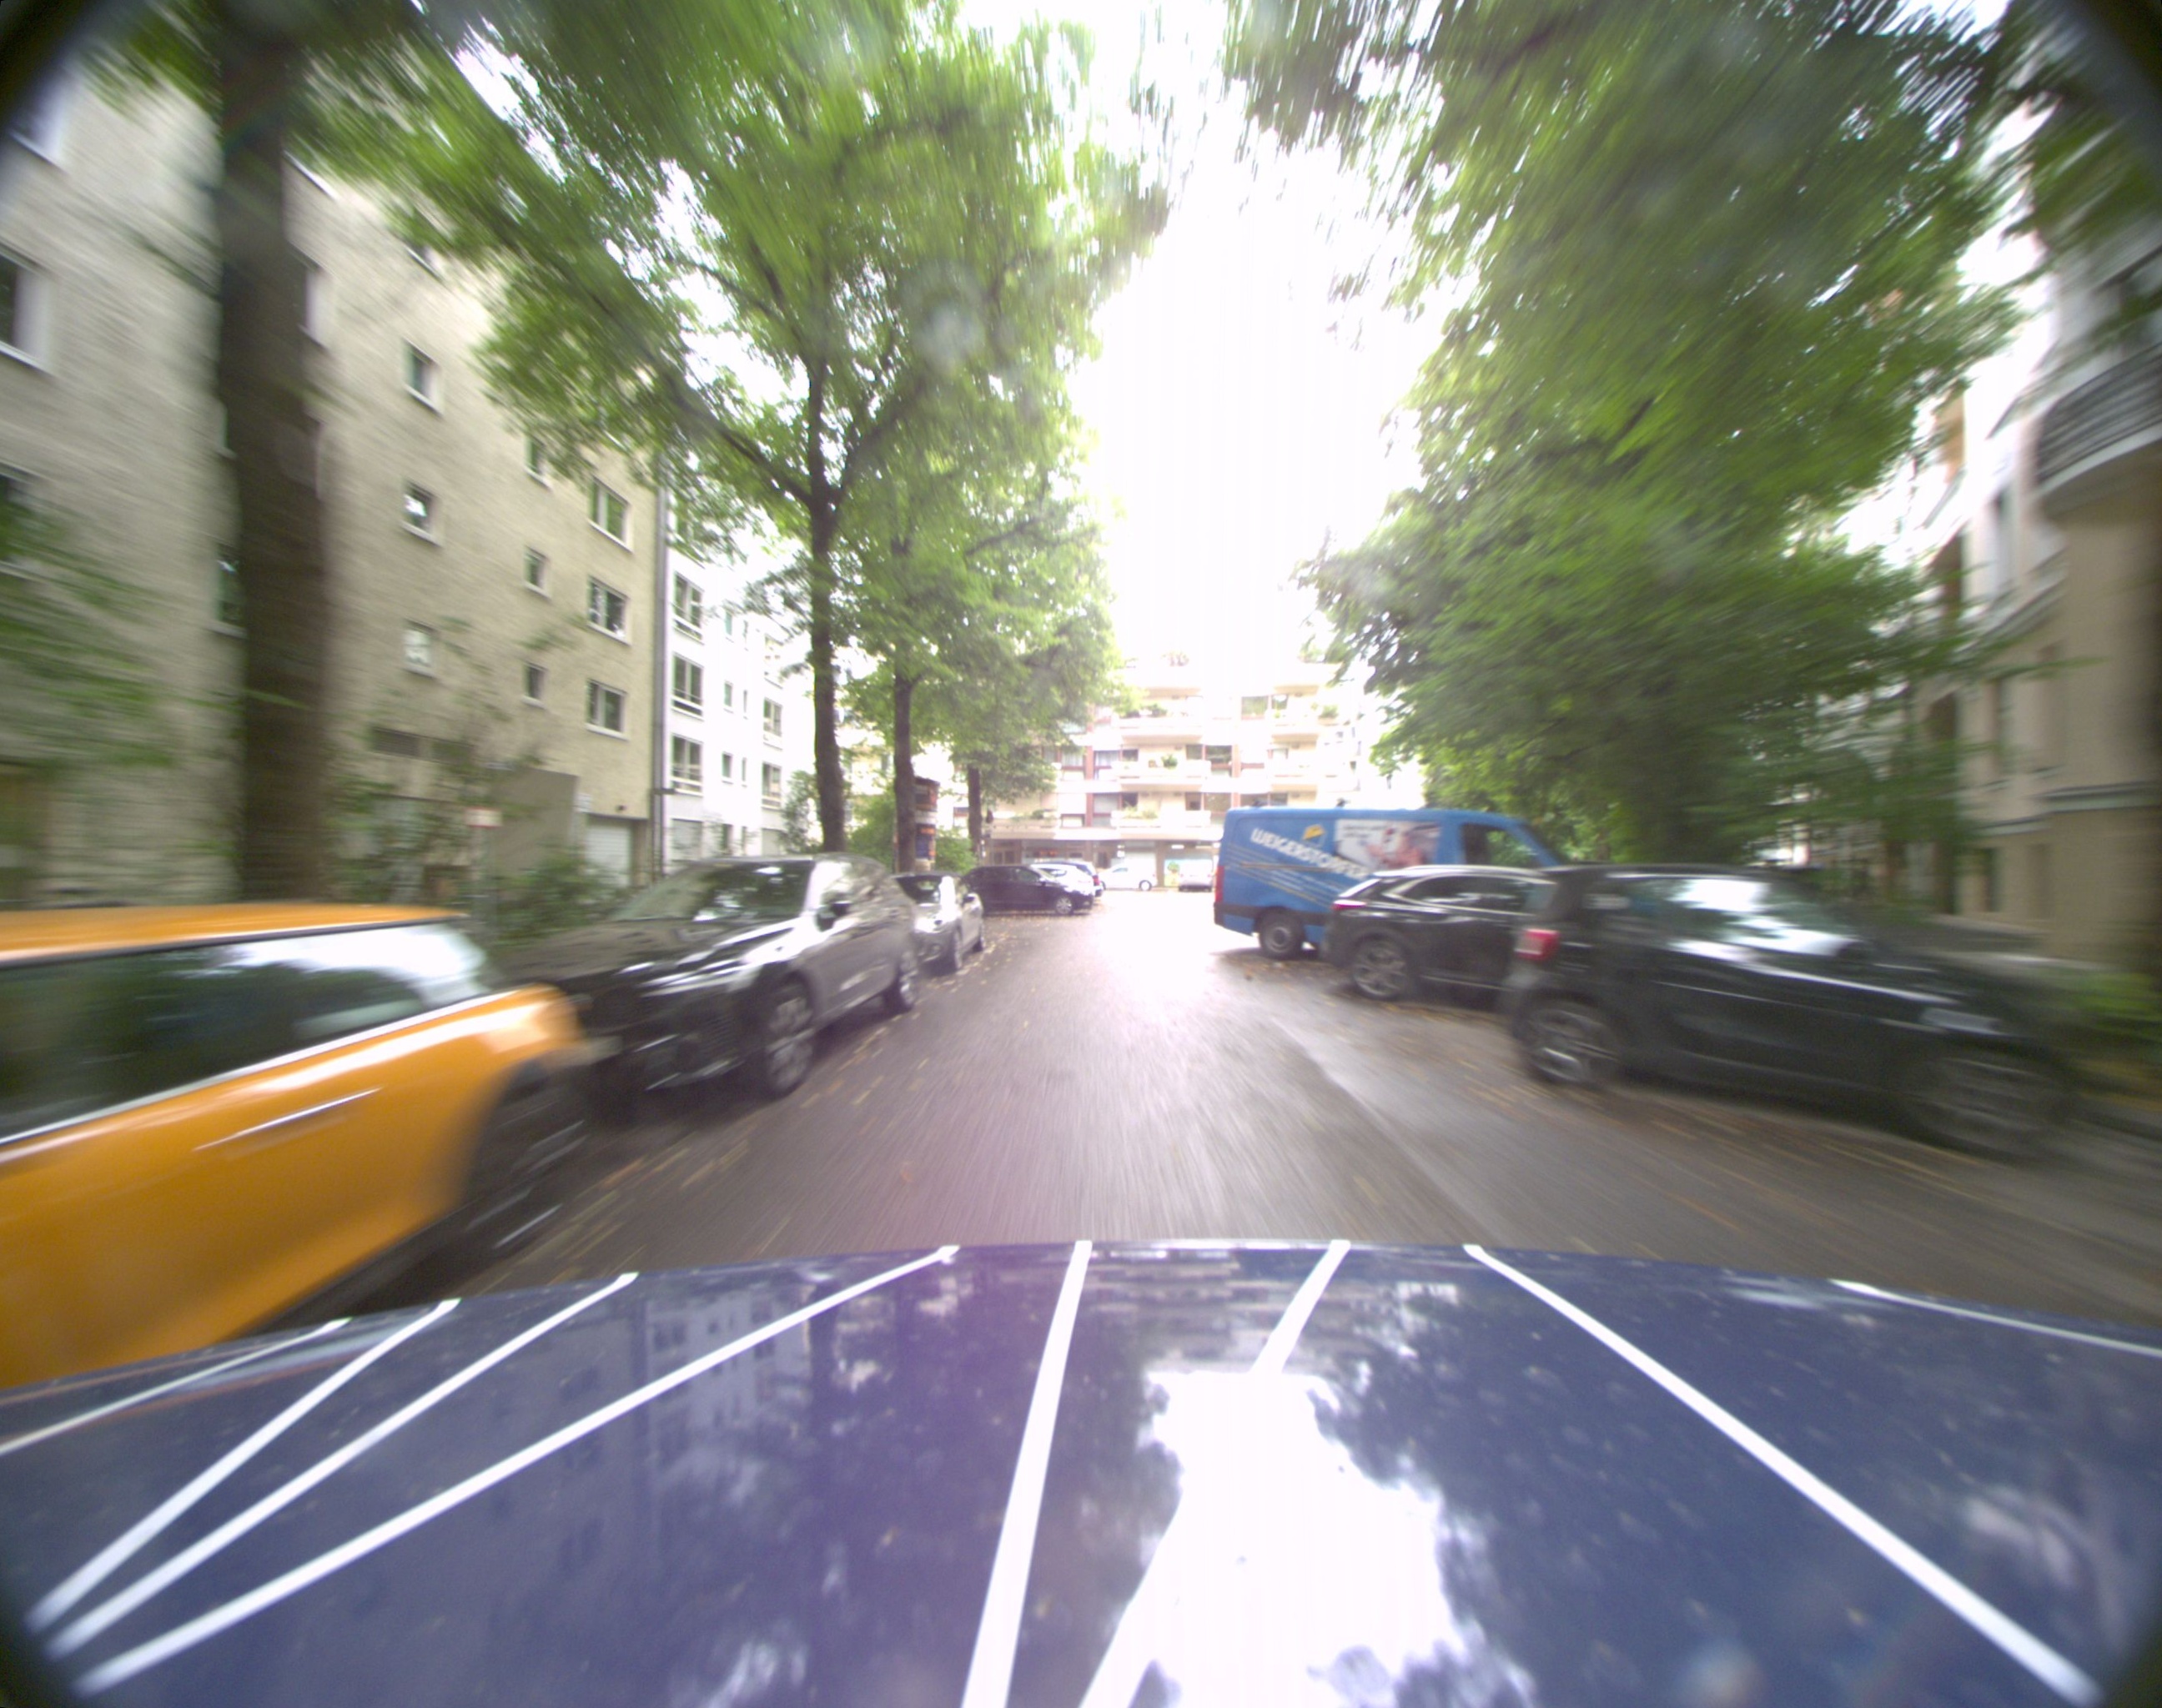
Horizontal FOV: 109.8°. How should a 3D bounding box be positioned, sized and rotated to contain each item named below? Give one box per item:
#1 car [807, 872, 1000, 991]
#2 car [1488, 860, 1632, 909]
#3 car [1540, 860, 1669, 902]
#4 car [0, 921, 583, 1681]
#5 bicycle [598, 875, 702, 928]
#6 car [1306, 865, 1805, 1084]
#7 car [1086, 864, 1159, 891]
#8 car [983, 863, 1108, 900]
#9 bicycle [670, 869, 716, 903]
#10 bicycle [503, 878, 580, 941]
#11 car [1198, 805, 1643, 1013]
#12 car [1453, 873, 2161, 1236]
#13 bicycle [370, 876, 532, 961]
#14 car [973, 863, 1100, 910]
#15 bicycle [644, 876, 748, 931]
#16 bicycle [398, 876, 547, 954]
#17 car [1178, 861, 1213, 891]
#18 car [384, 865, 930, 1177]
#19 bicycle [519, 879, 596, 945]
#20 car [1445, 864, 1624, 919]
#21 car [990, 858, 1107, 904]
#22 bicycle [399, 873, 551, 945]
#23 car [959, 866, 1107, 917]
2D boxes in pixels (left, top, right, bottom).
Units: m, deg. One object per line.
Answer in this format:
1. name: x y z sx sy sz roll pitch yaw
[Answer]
1. car: -2.576 1.071 12.205 1.903 1.405 4.430 1 0 2
2. car: 17.517 1.064 27.902 4.275 1.459 1.713 3 3 38
3. car: 20.127 1.000 29.441 4.013 1.521 1.848 0 0 31
4. car: -3.028 0.994 1.501 1.622 1.404 3.780 0 0 -1
5. bicycle: -9.320 1.016 16.478 1.877 1.117 0.540 0 0 -10
6. car: 4.621 0.961 7.833 3.987 1.528 1.820 2 1 41
7. car: 2.287 1.280 41.192 3.828 1.412 1.567 0 -2 7
8. car: -1.369 1.051 29.734 4.730 1.369 1.959 0 0 -1
9. bicycle: -12.714 1.031 24.952 0.539 1.017 1.702 3 0 2
10. bicycle: -10.485 1.048 14.834 0.445 1.117 1.770 0 0 -8
11. car: 4.672 0.523 11.059 5.478 2.341 2.070 3 2 38
12. car: 4.699 0.999 4.928 3.856 1.552 1.819 2 1 33
13. bicycle: -9.090 0.903 11.049 1.774 1.117 0.444 0 0 -33
14. car: -1.407 1.026 24.646 3.946 1.439 1.826 0 0 -1
15. bicycle: -8.087 1.031 16.026 1.877 1.117 0.540 0 0 -10
16. bicycle: -9.407 0.910 11.825 1.774 1.117 0.444 0 0 -33
17. car: 5.930 1.178 39.554 1.719 1.445 4.246 0 -3 8
18. car: -2.736 0.920 6.335 1.836 1.619 4.526 0 0 3
19. bicycle: -9.814 1.053 14.318 0.445 1.117 1.770 0 0 -8
20. car: 13.255 1.036 22.401 4.330 1.375 1.849 1 0 32
21. car: -1.088 0.934 27.012 3.980 1.546 1.756 0 0 3
22. bicycle: -9.983 0.891 12.572 1.949 1.117 0.445 0 0 -13
23. car: -1.322 1.060 22.104 4.091 1.386 1.735 0 0 4
